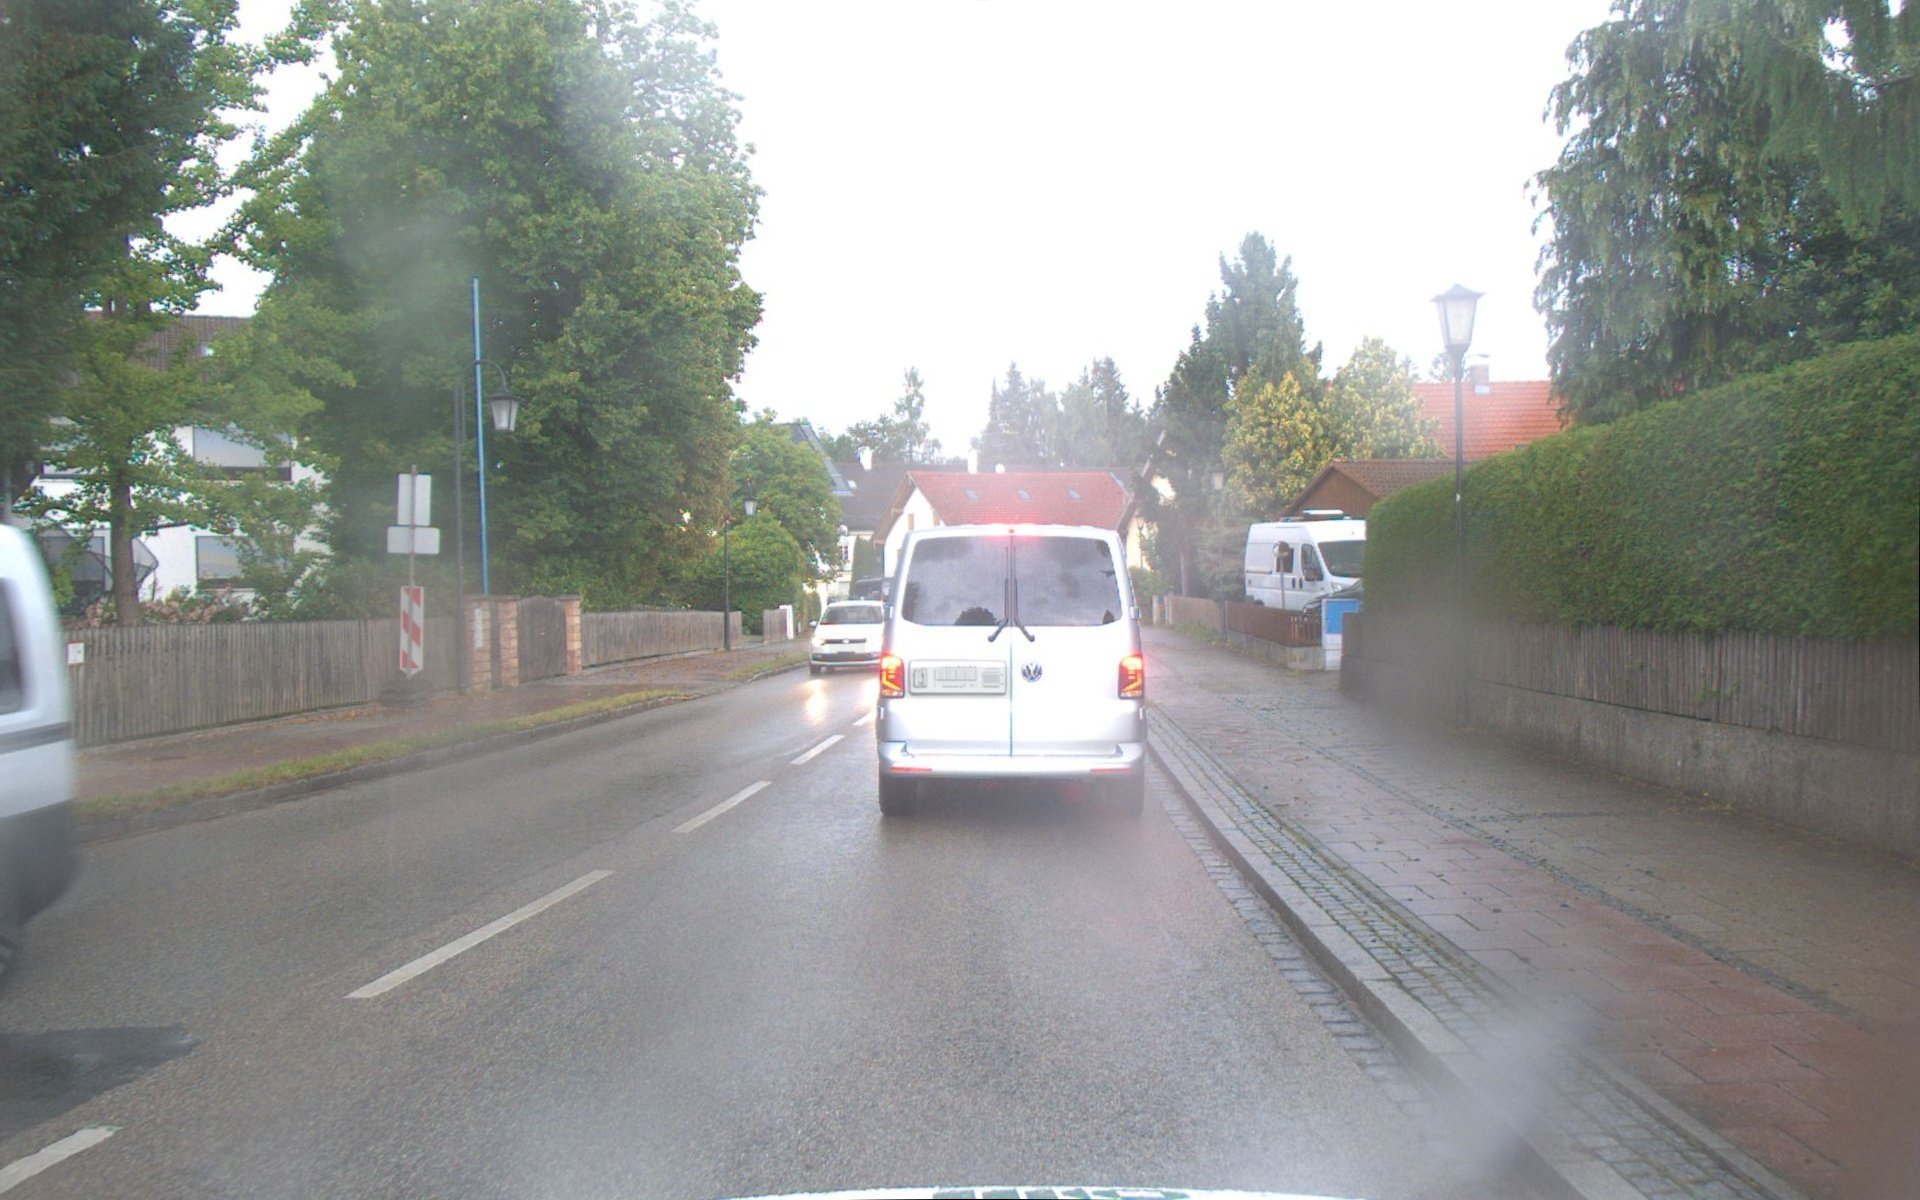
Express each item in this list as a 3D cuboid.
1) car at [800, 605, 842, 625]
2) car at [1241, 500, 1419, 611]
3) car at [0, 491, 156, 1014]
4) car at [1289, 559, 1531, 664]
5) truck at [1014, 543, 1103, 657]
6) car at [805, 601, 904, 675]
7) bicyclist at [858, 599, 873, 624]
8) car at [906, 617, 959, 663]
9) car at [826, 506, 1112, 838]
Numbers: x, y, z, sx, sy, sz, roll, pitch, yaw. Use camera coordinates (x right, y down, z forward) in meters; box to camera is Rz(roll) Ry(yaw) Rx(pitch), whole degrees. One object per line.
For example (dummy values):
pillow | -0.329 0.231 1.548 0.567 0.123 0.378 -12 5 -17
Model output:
car | -9.691 1.020 115.442 1.757 1.333 3.746 1 -1 -25
car | 7.912 -0.879 35.887 1.958 2.212 4.939 1 -1 -11
car | -4.186 0.519 4.486 1.606 1.796 4.333 1 0 4
car | 8.295 0.185 30.712 4.010 1.782 1.694 -1 2 -1
truck | 2.837 0.030 48.940 2.424 3.128 6.297 1 -1 2
car | -2.160 0.774 34.697 1.584 1.470 3.672 0 -1 4
bicyclist | -4.091 0.496 71.791 0.575 1.039 1.060 0 0 2
car | -0.899 1.308 55.621 1.681 1.467 3.999 1 -1 0
car | 0.215 0.466 12.330 1.763 2.049 4.002 1 -1 5
